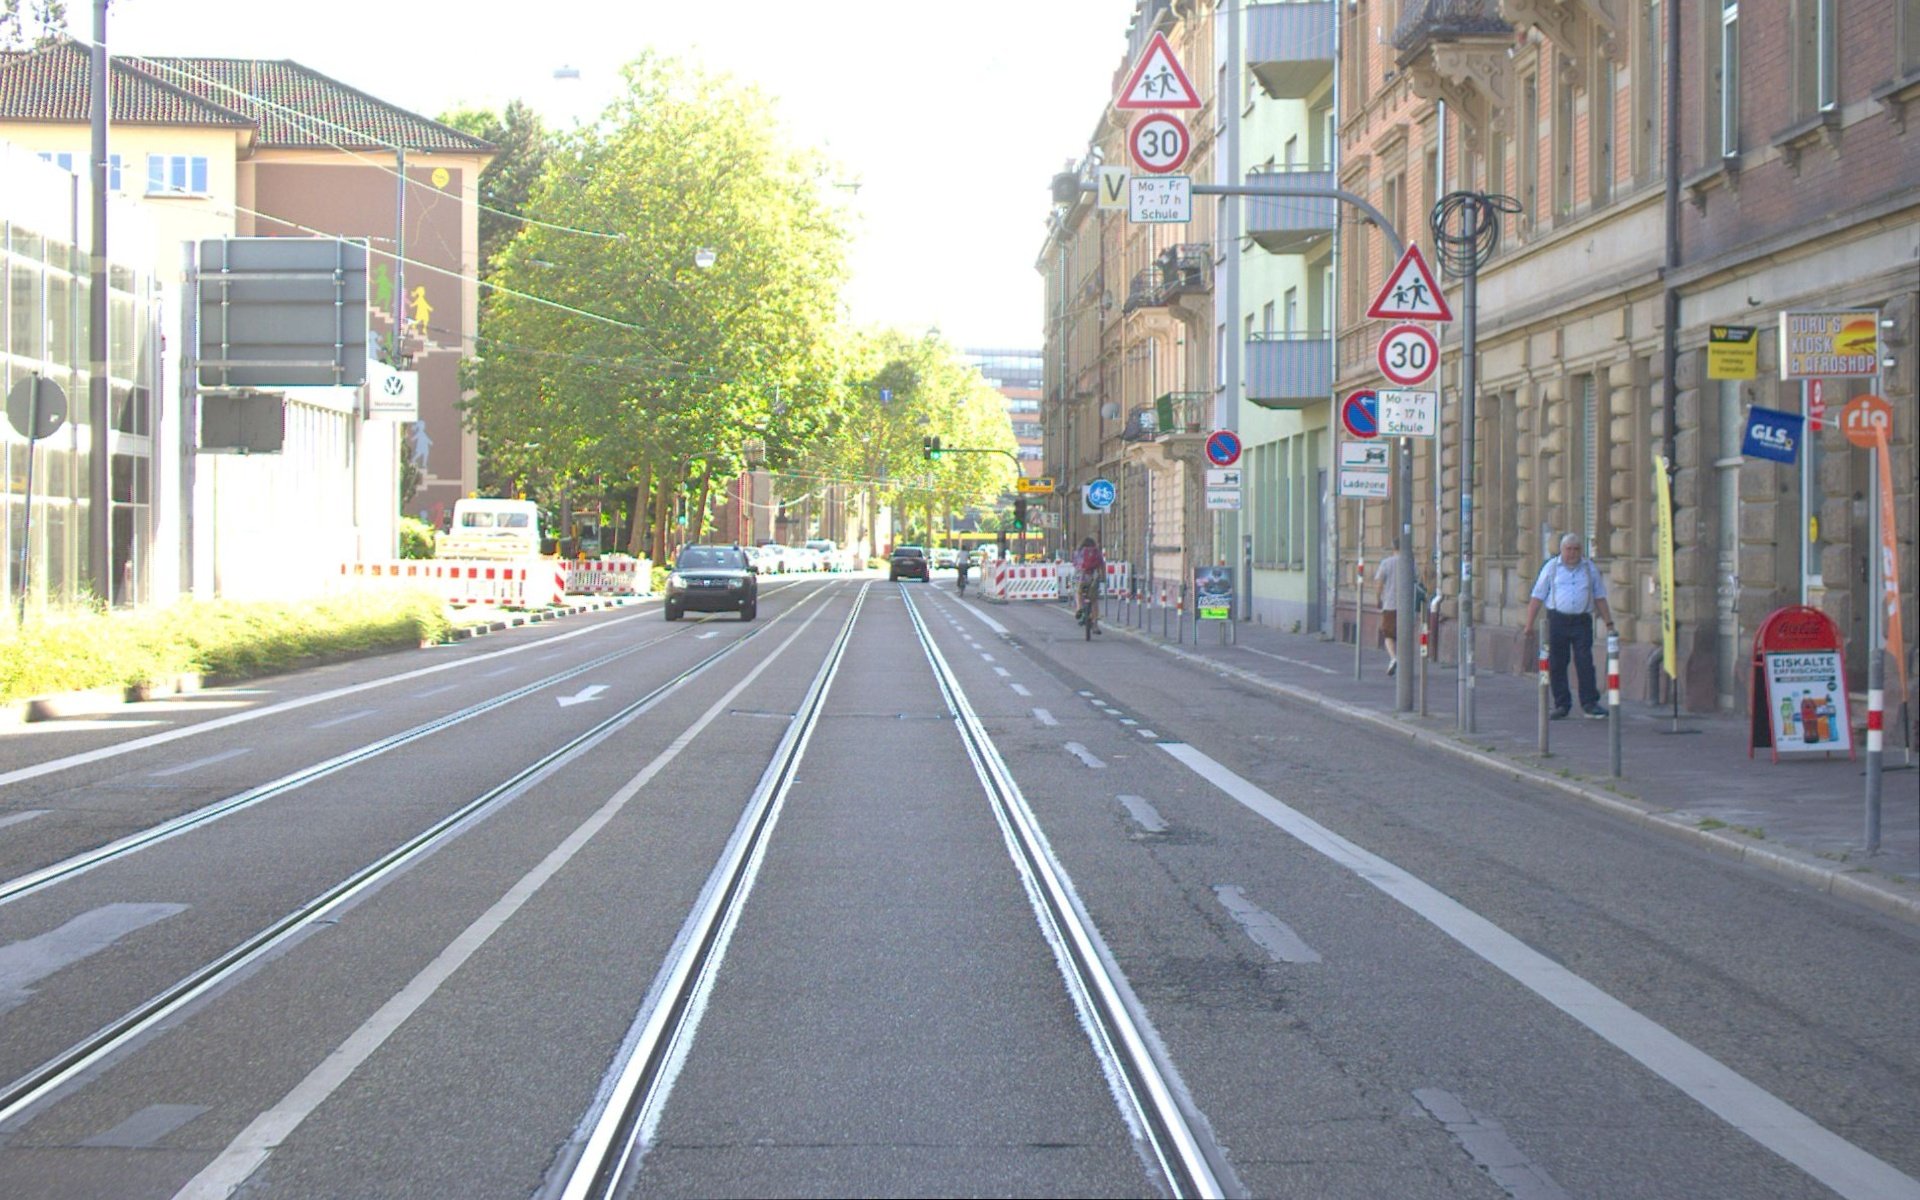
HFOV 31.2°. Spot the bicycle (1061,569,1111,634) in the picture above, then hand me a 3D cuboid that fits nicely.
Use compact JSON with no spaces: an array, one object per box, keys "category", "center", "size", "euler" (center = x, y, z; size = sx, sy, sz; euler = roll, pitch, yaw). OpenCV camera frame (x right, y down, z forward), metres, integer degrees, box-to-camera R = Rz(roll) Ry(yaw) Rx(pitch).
[{"category":"bicycle","center":[2.229,0.014,61.089],"size":[0.681,1.110,2.707],"euler":[2,1,-2]}]

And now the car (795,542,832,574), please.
[{"category":"car","center":[-9.544,-2.734,224.675],"size":[2.058,2.045,4.043],"euler":[2,0,2]}]

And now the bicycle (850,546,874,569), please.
[{"category":"bicycle","center":[-6.988,-2.998,244.836],"size":[1.234,1.567,2.896],"euler":[2,0,6]}]

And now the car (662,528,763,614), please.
[{"category":"car","center":[-5.177,-0.609,72.329],"size":[1.759,1.691,4.144],"euler":[2,0,0]}]

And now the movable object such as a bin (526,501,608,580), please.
[{"category":"movable object such as a bin","center":[-13.807,-2.094,121.029],"size":[2.495,2.636,5.990],"euler":[2,1,-4]}]

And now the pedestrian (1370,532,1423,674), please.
[{"category":"pedestrian","center":[5.256,0.032,41.432],"size":[0.553,1.695,0.474],"euler":[-1,0,3]}]

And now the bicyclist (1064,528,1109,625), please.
[{"category":"bicyclist","center":[2.244,-0.411,61.080],"size":[0.667,1.691,1.043],"euler":[2,0,-2]}]

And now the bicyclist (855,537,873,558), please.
[{"category":"bicyclist","center":[-6.826,-3.728,244.743],"size":[1.078,1.423,1.146],"euler":[2,0,7]}]

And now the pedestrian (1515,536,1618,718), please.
[{"category":"pedestrian","center":[5.412,0.236,30.711],"size":[0.798,1.599,0.652],"euler":[0,0,1]}]

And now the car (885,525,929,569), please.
[{"category":"car","center":[-2.531,-2.537,164.815],"size":[1.993,2.007,4.000],"euler":[2,0,-1]}]

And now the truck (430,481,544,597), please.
[{"category":"truck","center":[-12.321,-1.565,89.951],"size":[2.537,2.820,6.377],"euler":[2,0,-5]}]
